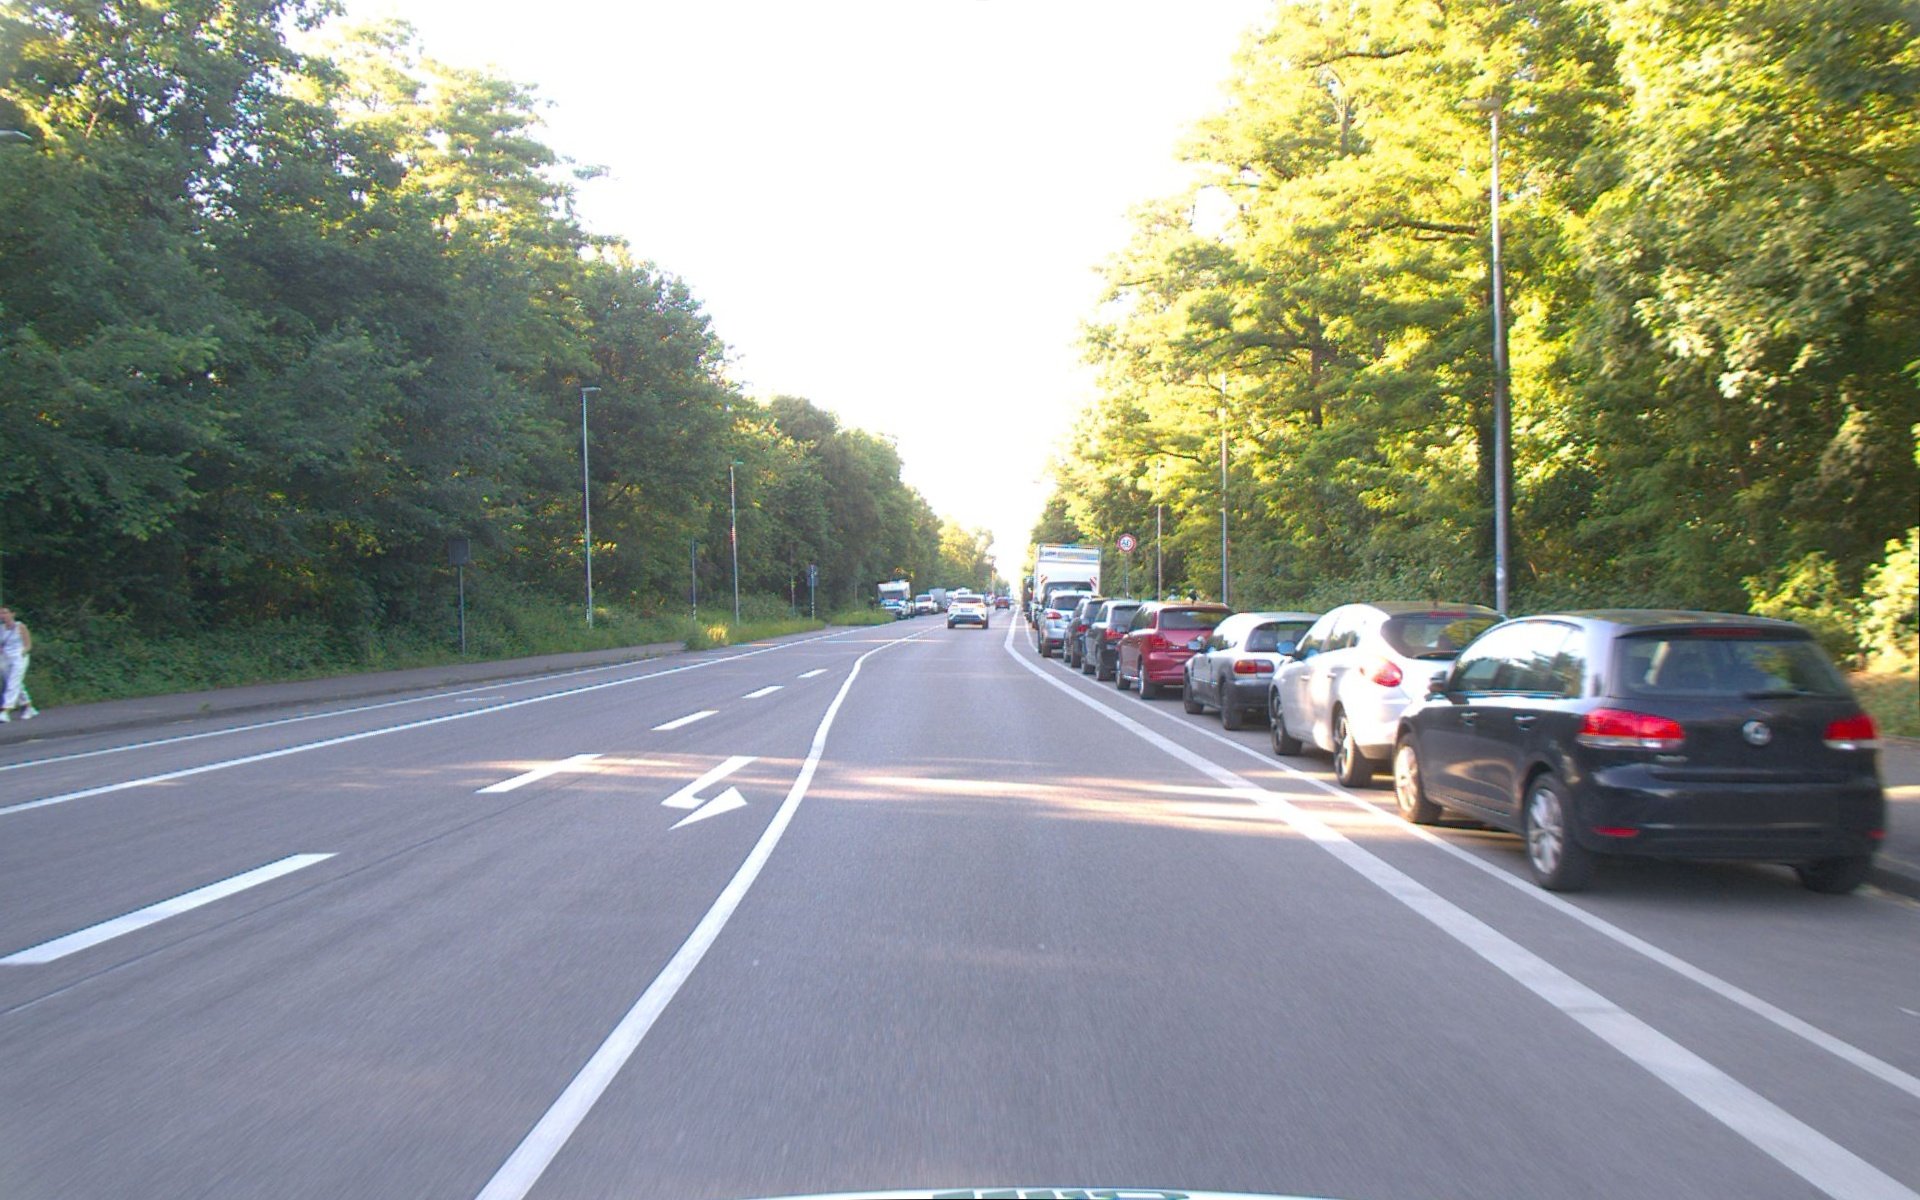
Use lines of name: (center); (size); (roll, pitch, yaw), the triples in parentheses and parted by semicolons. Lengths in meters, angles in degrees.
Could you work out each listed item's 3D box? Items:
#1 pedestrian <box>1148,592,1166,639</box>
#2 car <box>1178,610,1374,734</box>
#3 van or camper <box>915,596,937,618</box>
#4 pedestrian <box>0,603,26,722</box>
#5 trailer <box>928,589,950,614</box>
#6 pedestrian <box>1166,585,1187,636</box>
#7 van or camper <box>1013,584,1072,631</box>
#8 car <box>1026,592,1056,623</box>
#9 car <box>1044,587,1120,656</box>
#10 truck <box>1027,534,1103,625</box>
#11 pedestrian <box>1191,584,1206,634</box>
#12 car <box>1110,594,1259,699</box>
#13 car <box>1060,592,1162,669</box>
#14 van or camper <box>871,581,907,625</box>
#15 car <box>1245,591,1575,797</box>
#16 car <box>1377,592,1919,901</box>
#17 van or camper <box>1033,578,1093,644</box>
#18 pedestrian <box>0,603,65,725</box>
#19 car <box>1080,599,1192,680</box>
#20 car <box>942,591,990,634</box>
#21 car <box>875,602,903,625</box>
pedestrian: (6.756, 0.526, 56.729); (0.552, 1.616, 0.482); (-1, 0, 1)
car: (3.778, 0.811, 20.351); (1.595, 1.342, 3.839); (0, 0, -1)
van or camper: (-3.247, 0.681, 157.086); (1.798, 1.945, 4.857); (-2, 0, 1)
pedestrian: (-13.897, 0.893, 23.561); (0.660, 1.682, 0.790); (-1, 0, 6)
trailer: (-2.279, 0.153, 180.342); (1.952, 2.643, 4.417); (-3, 0, 2)
pedestrian: (7.760, 0.385, 59.204); (0.605, 1.795, 0.907); (-1, 0, 1)
van or camper: (5.408, 0.445, 106.933); (2.389, 2.848, 6.561); (-2, 0, 15)
car: (4.632, 0.430, 94.166); (1.676, 1.694, 4.553); (1, 0, 3)
car: (3.042, 0.501, 41.739); (1.761, 1.623, 4.030); (-1, 0, 2)
truck: (4.324, -0.814, 69.693); (2.774, 3.559, 8.579); (-1, 0, 1)
pedestrian: (7.886, 0.298, 54.685); (0.386, 1.616, 0.482); (-1, 0, 1)
car: (3.431, 0.676, 25.888); (1.584, 1.494, 3.721); (1, 0, -4)
car: (3.256, 0.622, 36.368); (1.770, 1.545, 4.504); (1, 0, 0)
van or camper: (-5.241, 0.229, 123.017); (2.267, 3.021, 7.110); (-3, 0, 0)
car: (3.855, 0.718, 14.968); (1.702, 1.551, 4.358); (-1, 0, -1)
car: (3.935, 0.711, 10.128); (1.623, 1.477, 4.019); (-1, 0, -2)
van or camper: (3.358, 0.331, 54.432); (1.858, 2.049, 4.588); (-1, 0, 2)
pedestrian: (-13.222, 0.889, 23.368); (0.660, 1.682, 0.790); (-1, 0, 6)
car: (3.261, 0.693, 31.196); (1.562, 1.426, 3.797); (0, 0, -2)
car: (0.282, 0.539, 74.943); (1.986, 1.872, 4.030); (-1, 0, 2)
car: (-4.955, 0.959, 115.758); (1.790, 1.501, 4.680); (-2, 0, -1)
